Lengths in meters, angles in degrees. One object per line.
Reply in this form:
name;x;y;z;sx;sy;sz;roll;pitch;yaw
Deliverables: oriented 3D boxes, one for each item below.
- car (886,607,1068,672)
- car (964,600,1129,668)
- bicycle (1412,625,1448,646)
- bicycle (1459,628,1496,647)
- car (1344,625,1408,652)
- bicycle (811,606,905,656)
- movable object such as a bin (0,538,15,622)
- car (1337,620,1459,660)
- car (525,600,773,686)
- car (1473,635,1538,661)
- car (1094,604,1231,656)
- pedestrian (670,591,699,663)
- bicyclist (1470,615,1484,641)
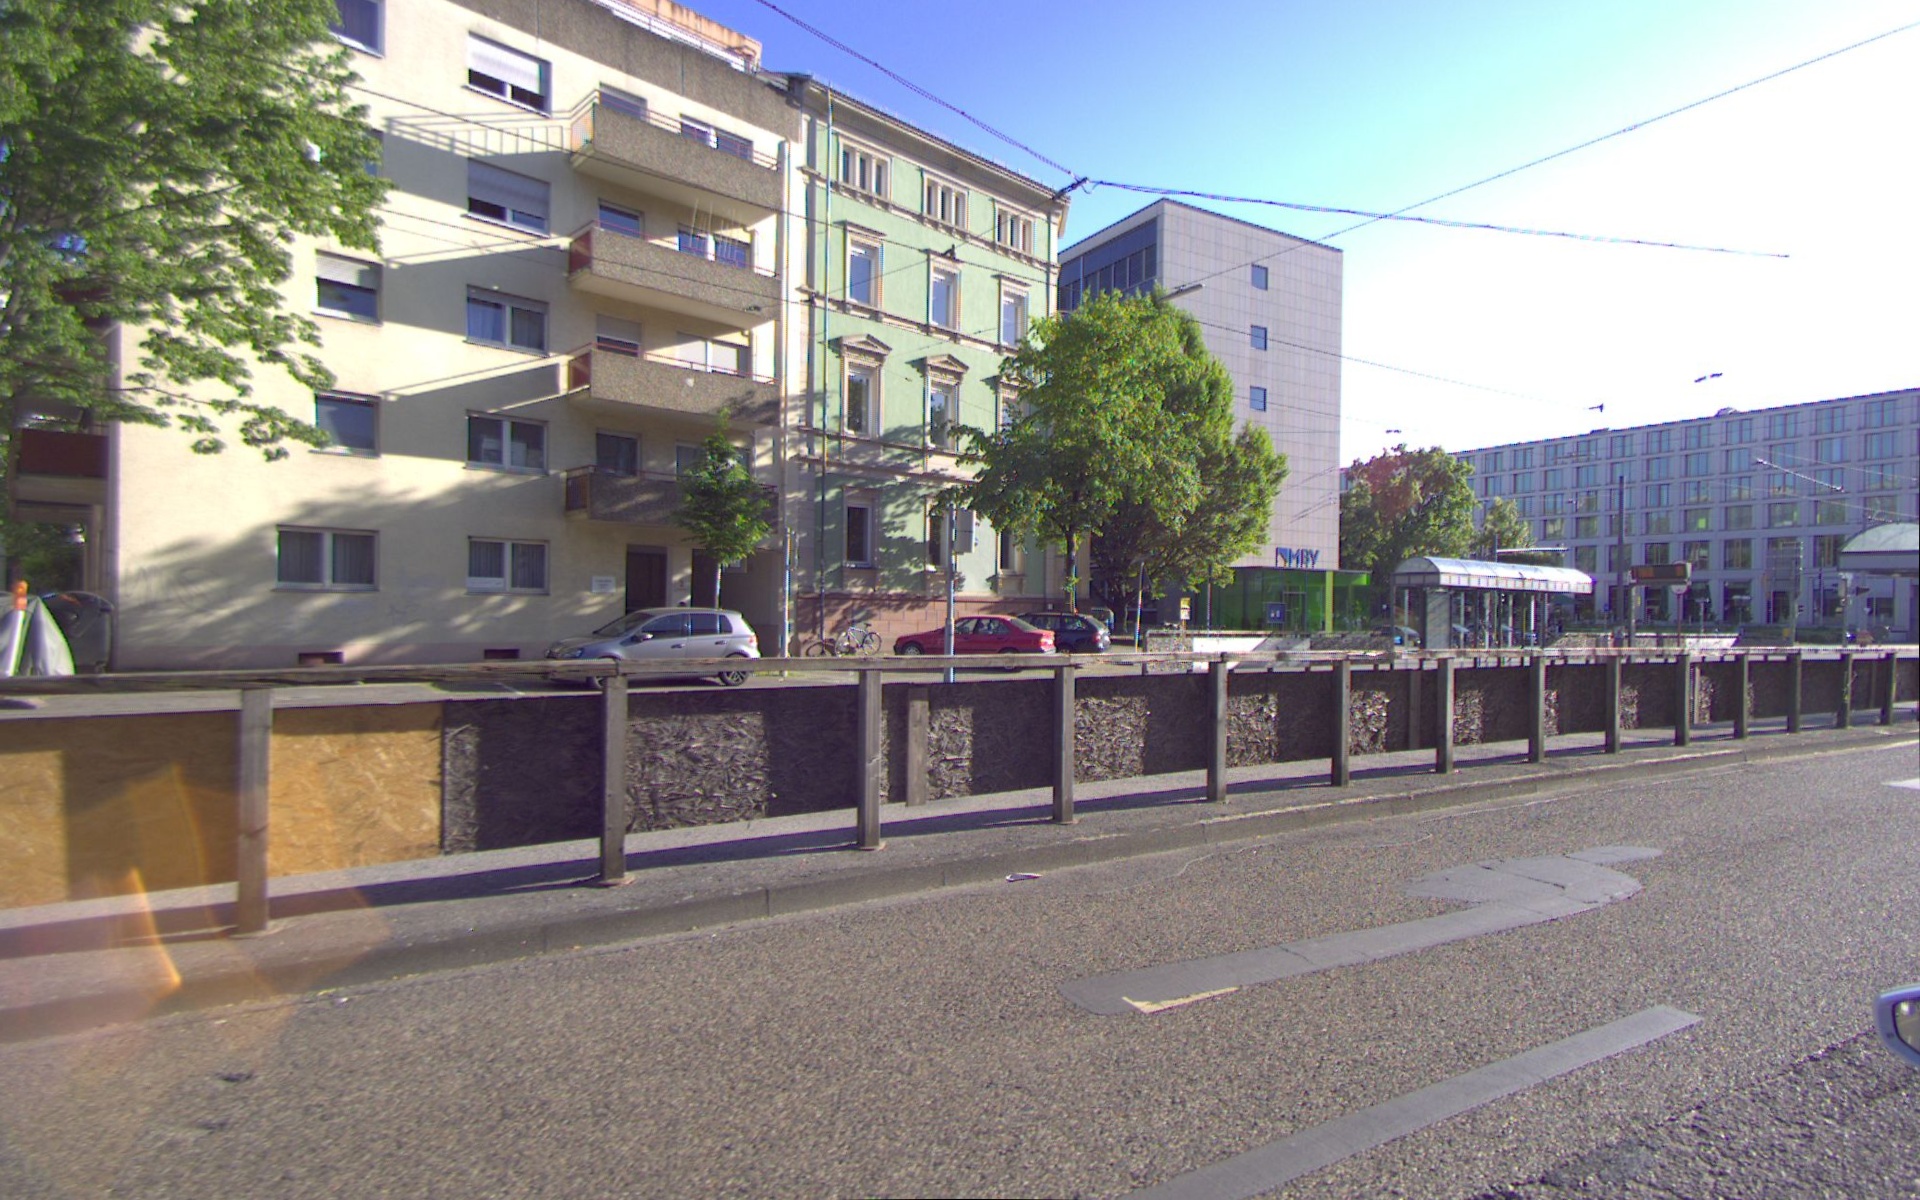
car;0.457;1.009;26.692;4.426;1.444;1.873;2;0;20
car;2.490;0.945;28.603;4.424;1.663;1.591;2;0;15
bicycle;30.406;2.280;64.997;0.874;1.305;2.042;1;-1;-24
bicycle;31.830;2.284;61.801;0.784;1.137;1.906;1;-1;-41
car;26.344;2.407;63.669;1.505;1.526;3.511;1;0;-32
bicycle;-3.010;0.925;30.006;0.709;1.417;2.991;1;0;45
movable object such as a bin;-36.090;-0.782;33.936;5.202;2.968;3.922;2;-1;-31
car;17.807;1.597;40.883;4.432;1.368;1.588;2;0;28
car;-5.922;0.787;19.398;4.256;1.429;1.692;1;1;-39
car;36.333;3.168;67.009;1.505;1.526;3.511;1;0;-32
car;7.121;1.021;35.486;4.432;1.590;1.588;2;0;28
pedestrian;-6.596;0.638;24.027;0.486;1.694;0.507;1;0;-37
bicyclist;31.802;1.723;61.794;0.589;1.603;0.613;1;0;-41
